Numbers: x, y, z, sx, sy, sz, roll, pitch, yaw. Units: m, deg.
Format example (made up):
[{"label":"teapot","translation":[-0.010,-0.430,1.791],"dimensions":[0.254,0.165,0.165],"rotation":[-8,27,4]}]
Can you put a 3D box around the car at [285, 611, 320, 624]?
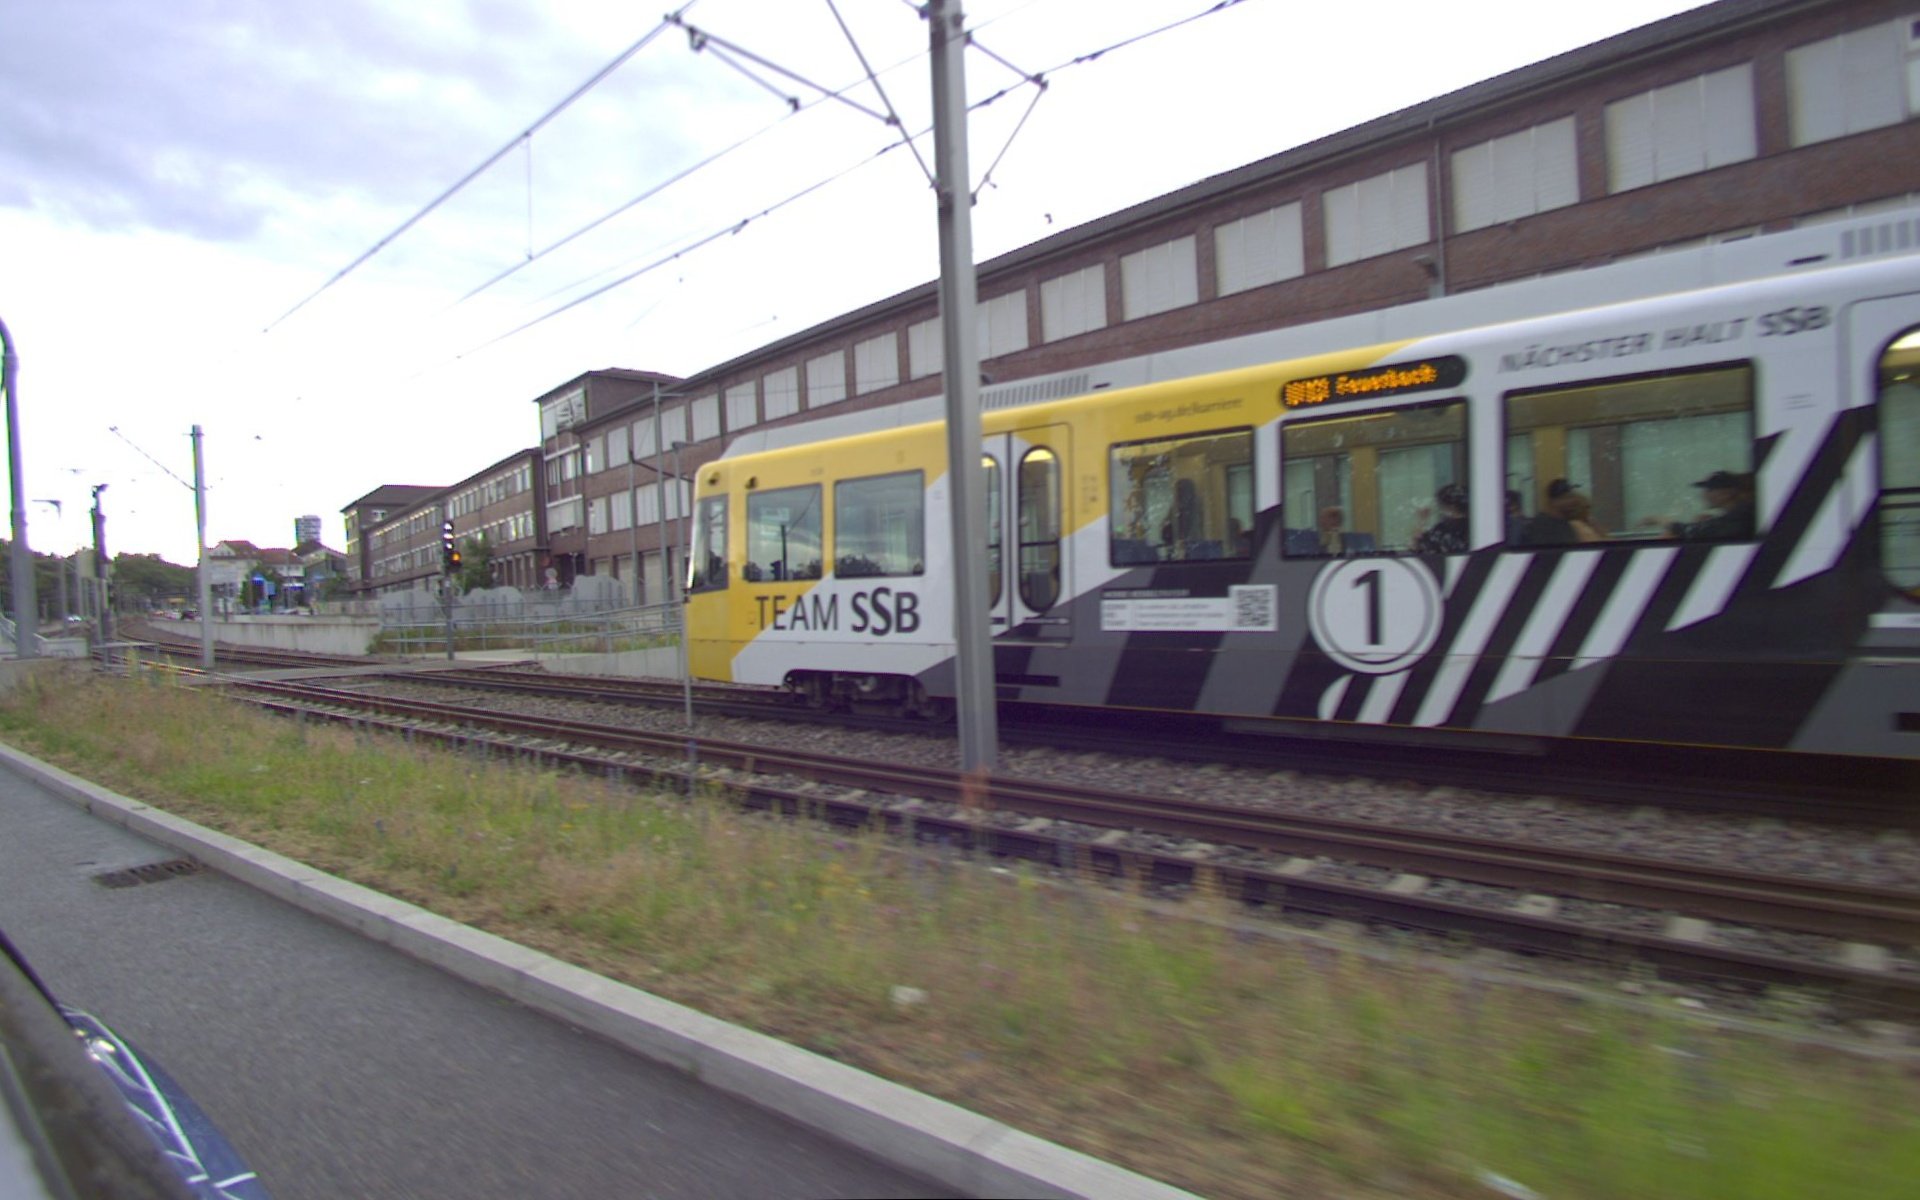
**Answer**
[{"label":"car","translation":[-106.734,2.845,164.195],"dimensions":[4.508,1.773,2.003],"rotation":[-3,1,-40]}]

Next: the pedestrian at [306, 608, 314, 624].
[{"label":"pedestrian","translation":[-84.960,2.052,132.245],"dimensions":[0.723,2.029,0.578],"rotation":[-1,0,14]}]

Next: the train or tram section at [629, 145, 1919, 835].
[{"label":"train or tram section","translation":[3.786,-0.613,9.099],"dimensions":[19.557,3.915,2.926],"rotation":[-1,2,40]}]

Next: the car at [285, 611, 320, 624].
[{"label":"car","translation":[-108.079,2.883,166.315],"dimensions":[4.508,1.773,2.003],"rotation":[-3,1,-40]}]
